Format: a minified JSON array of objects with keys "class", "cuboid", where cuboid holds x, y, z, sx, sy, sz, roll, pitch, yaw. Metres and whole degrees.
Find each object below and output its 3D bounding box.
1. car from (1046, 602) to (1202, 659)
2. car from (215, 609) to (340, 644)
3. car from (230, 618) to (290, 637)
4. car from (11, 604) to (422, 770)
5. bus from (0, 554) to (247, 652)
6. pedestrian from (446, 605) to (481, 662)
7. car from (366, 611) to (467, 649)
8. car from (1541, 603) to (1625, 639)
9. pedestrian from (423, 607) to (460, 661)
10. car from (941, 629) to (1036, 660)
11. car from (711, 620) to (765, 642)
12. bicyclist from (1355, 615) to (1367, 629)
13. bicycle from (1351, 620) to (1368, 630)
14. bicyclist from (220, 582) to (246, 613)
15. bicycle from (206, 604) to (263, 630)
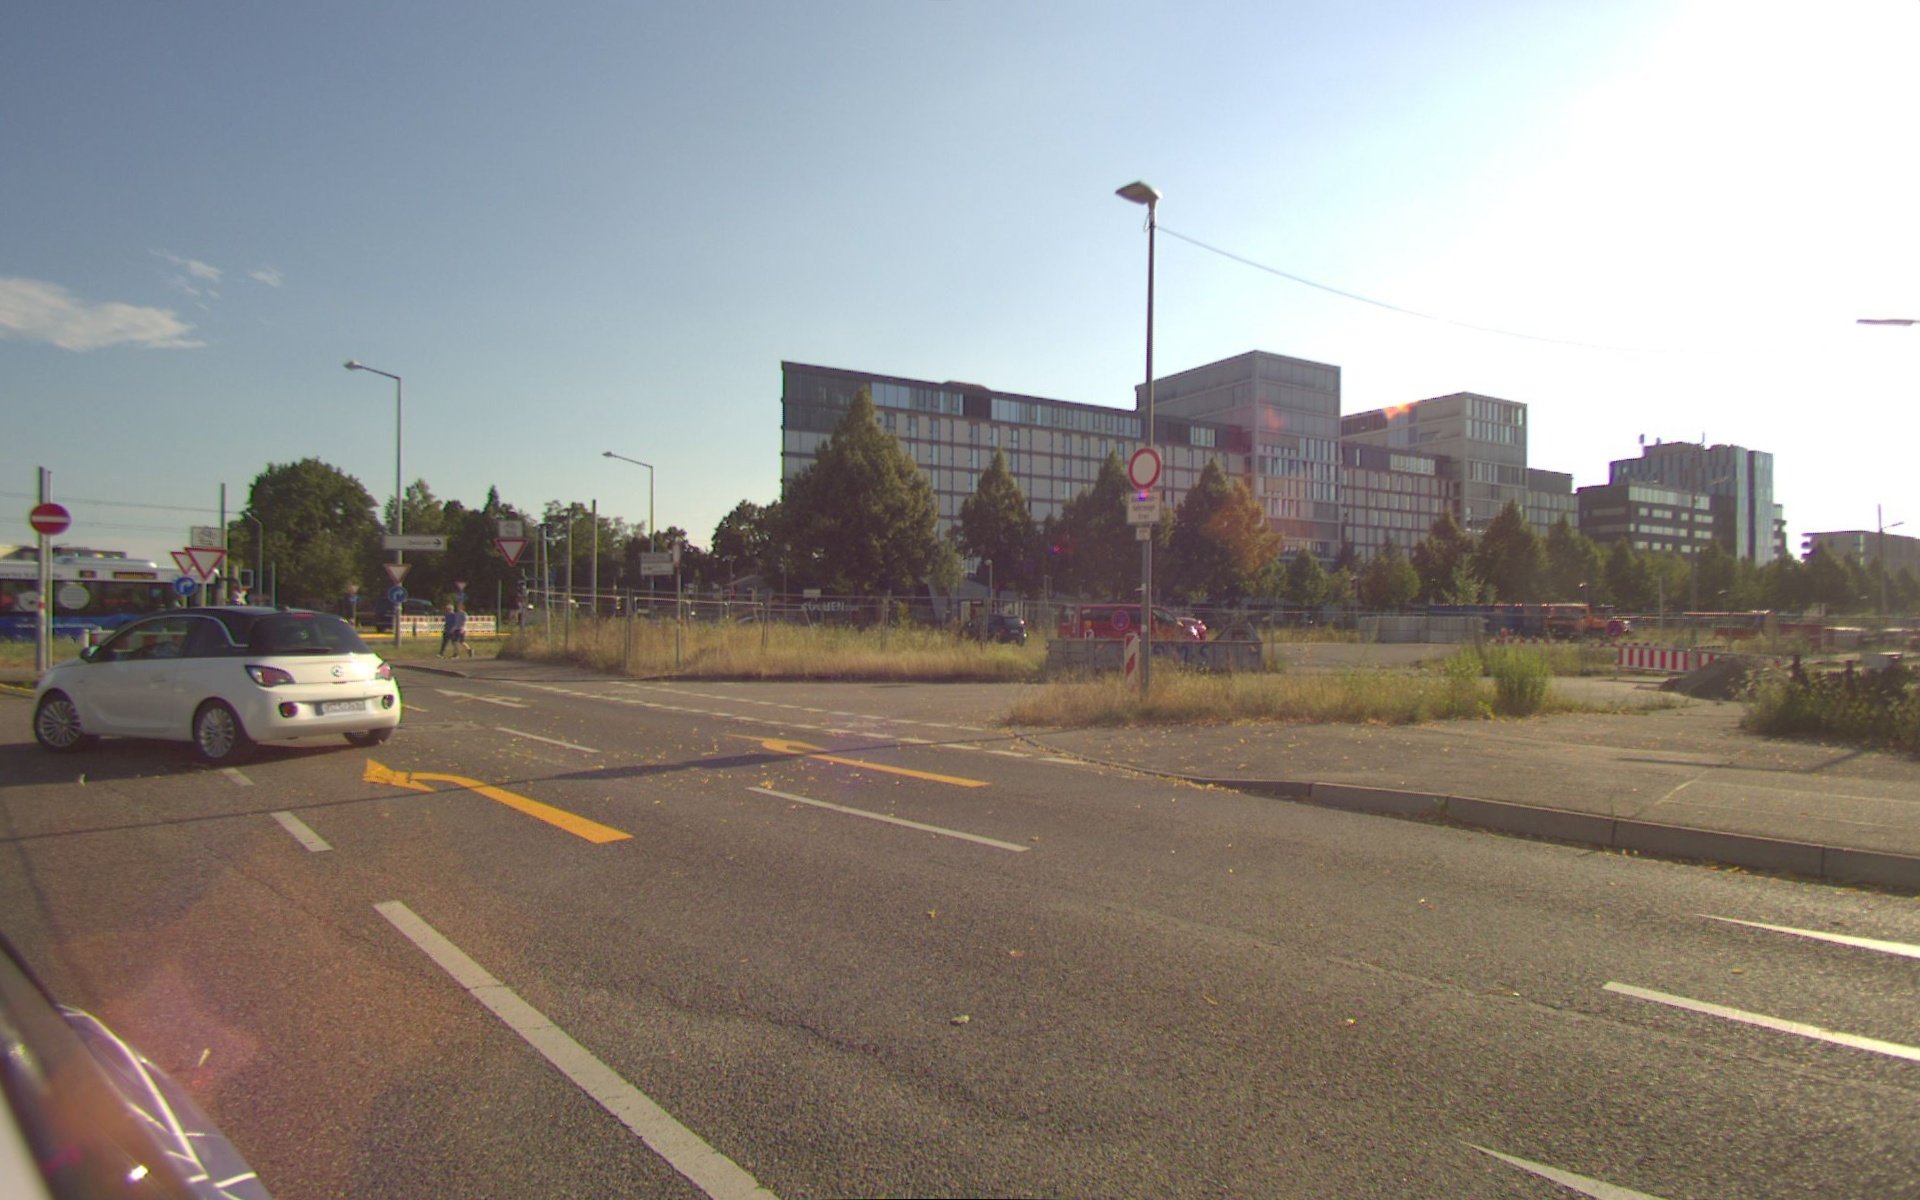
[{"class":"car","cuboid":[5.970,1.114,37.076,5.227,2.029,2.004,1,-2,-10]},{"class":"car","cuboid":[-29.546,1.121,43.990,1.795,1.447,4.363,0,-1,17]},{"class":"car","cuboid":[-58.915,2.324,85.152,3.959,1.587,1.992,0,-1,13]},{"class":"car","cuboid":[-7.555,0.777,10.326,3.600,1.432,1.752,0,-1,22]},{"class":"bus","cuboid":[-30.943,0.114,33.255,2.663,3.085,12.020,-1,-1,38]},{"class":"pedestrian","cuboid":[-15.778,1.063,32.146,0.760,1.789,0.761,-1,-2,42]},{"class":"car","cuboid":[-31.318,1.700,58.526,2.076,2.063,5.216,0,-1,16]},{"class":"car","cuboid":[43.712,1.473,70.973,5.833,2.459,2.542,1,-1,-30]},{"class":"pedestrian","cuboid":[-16.604,1.082,32.407,0.786,1.722,0.801,-1,-2,44]},{"class":"car","cuboid":[1.312,2.065,47.872,4.245,1.373,1.972,-1,-2,43]},{"class":"car","cuboid":[-14.676,2.052,67.116,1.824,1.417,4.684,0,-2,11]},{"class":"bicyclist","cuboid":[39.746,2.168,100.366,0.618,1.420,0.872,1,-1,-38]},{"class":"bicycle","cuboid":[39.562,2.449,100.224,1.691,0.936,0.853,1,-1,-38]},{"class":"bicyclist","cuboid":[-33.722,-0.104,46.950,0.883,1.395,0.762,2,2,40]},{"class":"bicycle","cuboid":[-33.693,0.794,47.046,0.820,1.193,2.004,-1,-2,39]}]
